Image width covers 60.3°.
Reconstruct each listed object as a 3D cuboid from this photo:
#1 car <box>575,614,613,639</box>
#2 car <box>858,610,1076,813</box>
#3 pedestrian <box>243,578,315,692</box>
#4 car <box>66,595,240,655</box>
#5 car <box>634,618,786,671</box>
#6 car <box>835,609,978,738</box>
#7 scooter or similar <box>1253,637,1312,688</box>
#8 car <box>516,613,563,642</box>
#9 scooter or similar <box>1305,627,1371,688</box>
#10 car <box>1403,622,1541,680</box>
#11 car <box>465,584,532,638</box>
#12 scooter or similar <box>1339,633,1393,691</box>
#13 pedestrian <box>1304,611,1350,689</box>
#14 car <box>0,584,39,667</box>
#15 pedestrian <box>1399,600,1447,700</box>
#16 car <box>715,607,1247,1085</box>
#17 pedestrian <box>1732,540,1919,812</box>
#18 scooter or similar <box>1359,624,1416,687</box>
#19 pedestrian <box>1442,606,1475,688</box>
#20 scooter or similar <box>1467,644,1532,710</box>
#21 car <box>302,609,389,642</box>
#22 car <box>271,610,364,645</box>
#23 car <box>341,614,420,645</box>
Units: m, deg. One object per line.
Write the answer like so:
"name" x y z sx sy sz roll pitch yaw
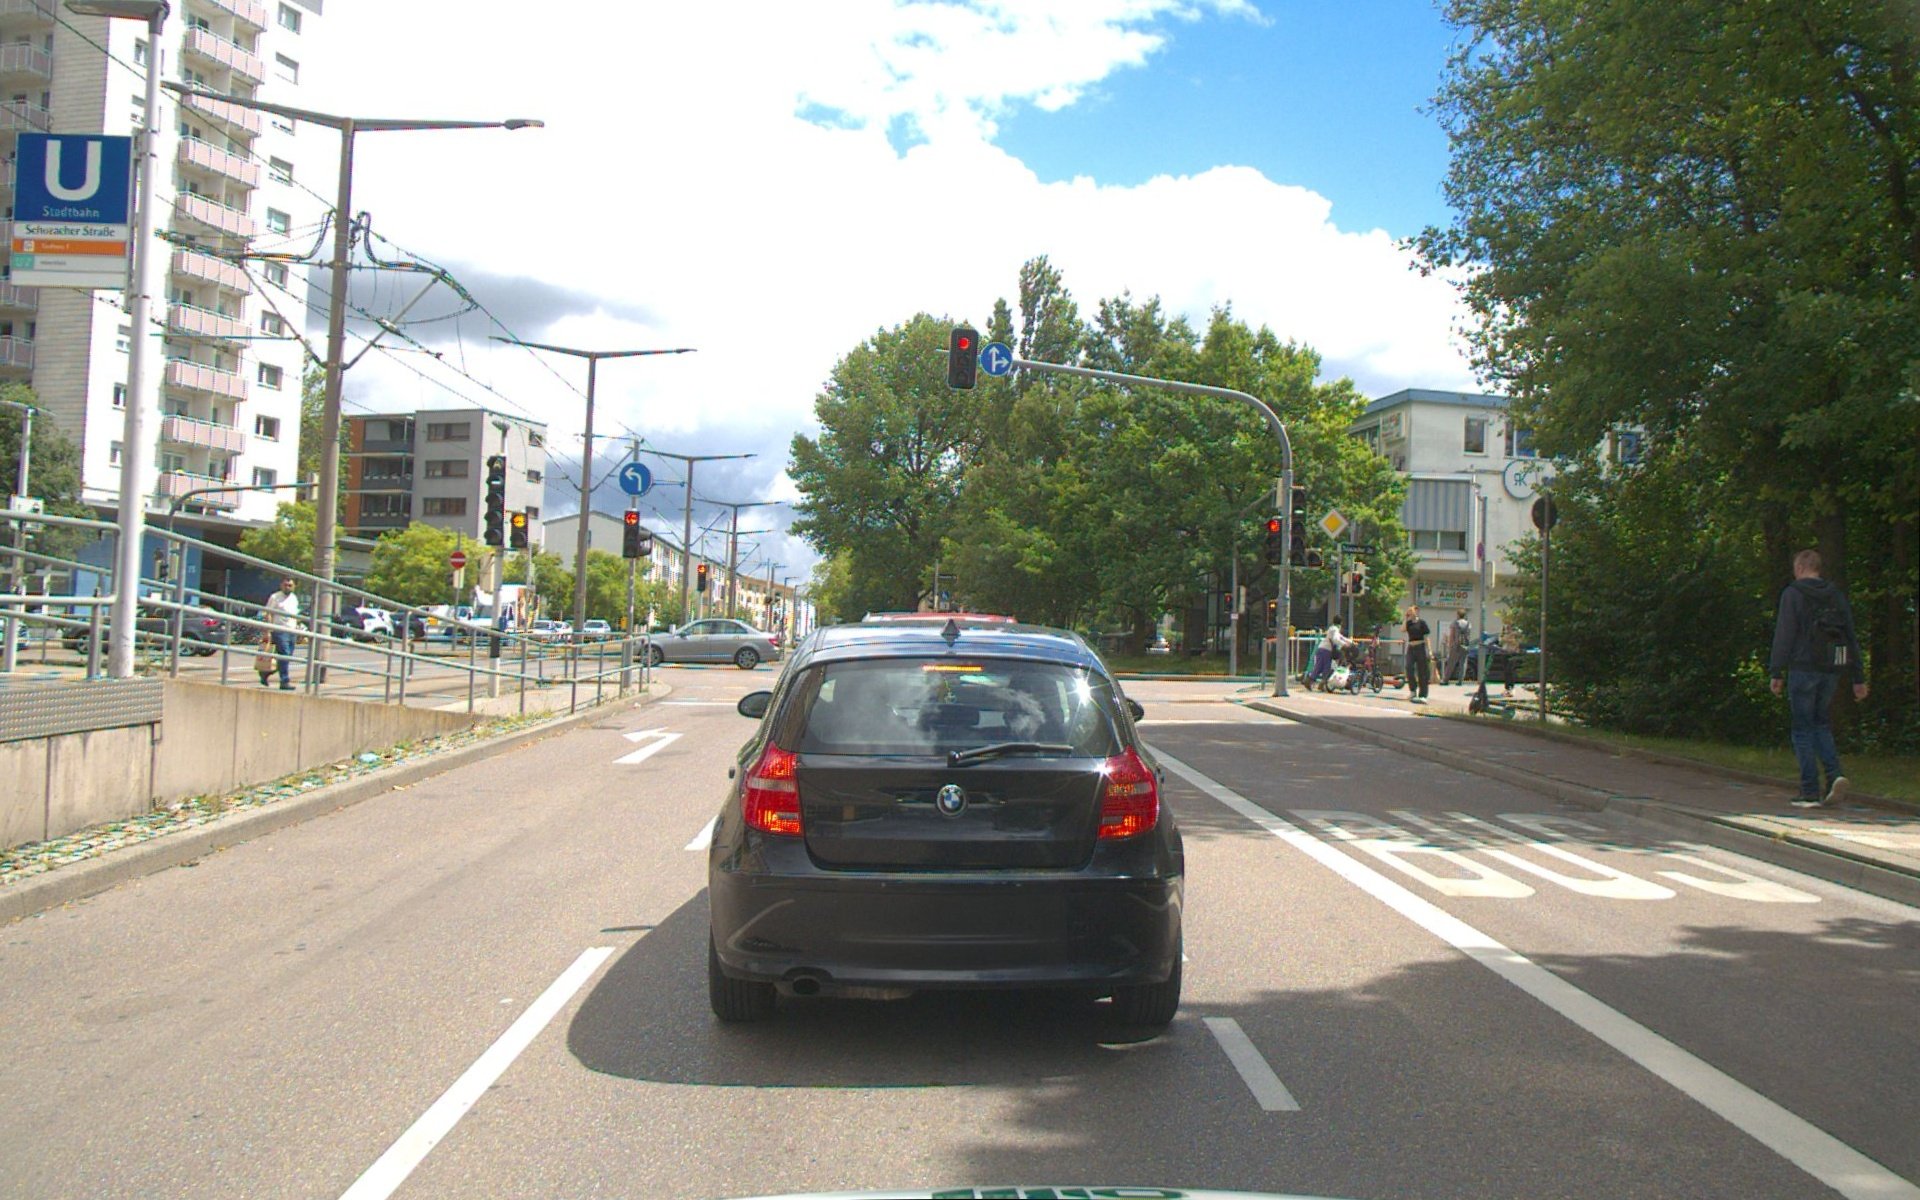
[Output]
"car" -25.611 1.829 115.815 1.927 1.624 3.997 1 0 -3
"car" 0.051 0.822 13.769 1.562 1.443 3.516 1 0 0
"pedestrian" -10.500 0.532 25.490 0.844 1.726 0.686 1 -1 39
"car" -22.031 0.680 45.271 3.913 1.553 1.672 1 0 -9
"car" -7.210 1.283 47.875 4.243 1.419 1.709 1 0 -9
"car" -0.683 0.854 20.728 1.621 1.443 3.515 1 0 -2
"scooter or similar" 6.226 1.200 31.944 1.102 0.974 0.299 1 -1 -17
"car" -24.835 1.609 97.821 1.927 1.624 3.997 1 0 -3
"scooter or similar" 7.592 1.152 33.189 1.267 1.210 0.383 1 -1 -17
"car" 15.019 1.492 48.547 3.515 1.629 1.706 1 -1 -13
"car" -23.956 0.563 86.115 2.096 2.686 5.356 1 0 -2
"scooter or similar" 7.848 1.184 31.913 0.402 1.069 1.780 1 0 35
"pedestrian" 7.100 0.954 31.989 0.846 1.468 0.799 1 -1 12
"car" -22.194 0.487 34.843 4.393 1.723 1.997 1 0 -6
"pedestrian" 8.786 0.954 31.419 0.743 1.821 0.569 4 -1 15
"car" 0.096 0.763 6.856 1.620 1.443 3.517 1 0 1
"pedestrian" 6.580 0.552 12.562 0.785 1.928 1.270 2 -1 0
"scooter or similar" 8.805 1.150 34.061 1.087 1.280 0.331 1 -1 -13
"pedestrian" 11.452 1.076 37.998 0.600 1.821 0.569 4 -1 18
"scooter or similar" 9.395 1.340 28.794 1.133 1.118 0.329 1 -1 -25
"car" -28.782 1.176 77.572 3.537 1.488 1.613 1 0 -9
"car" -28.387 1.196 73.190 3.537 1.488 1.613 1 0 -9
"car" -29.607 1.510 84.542 3.537 1.488 1.613 1 0 -9
